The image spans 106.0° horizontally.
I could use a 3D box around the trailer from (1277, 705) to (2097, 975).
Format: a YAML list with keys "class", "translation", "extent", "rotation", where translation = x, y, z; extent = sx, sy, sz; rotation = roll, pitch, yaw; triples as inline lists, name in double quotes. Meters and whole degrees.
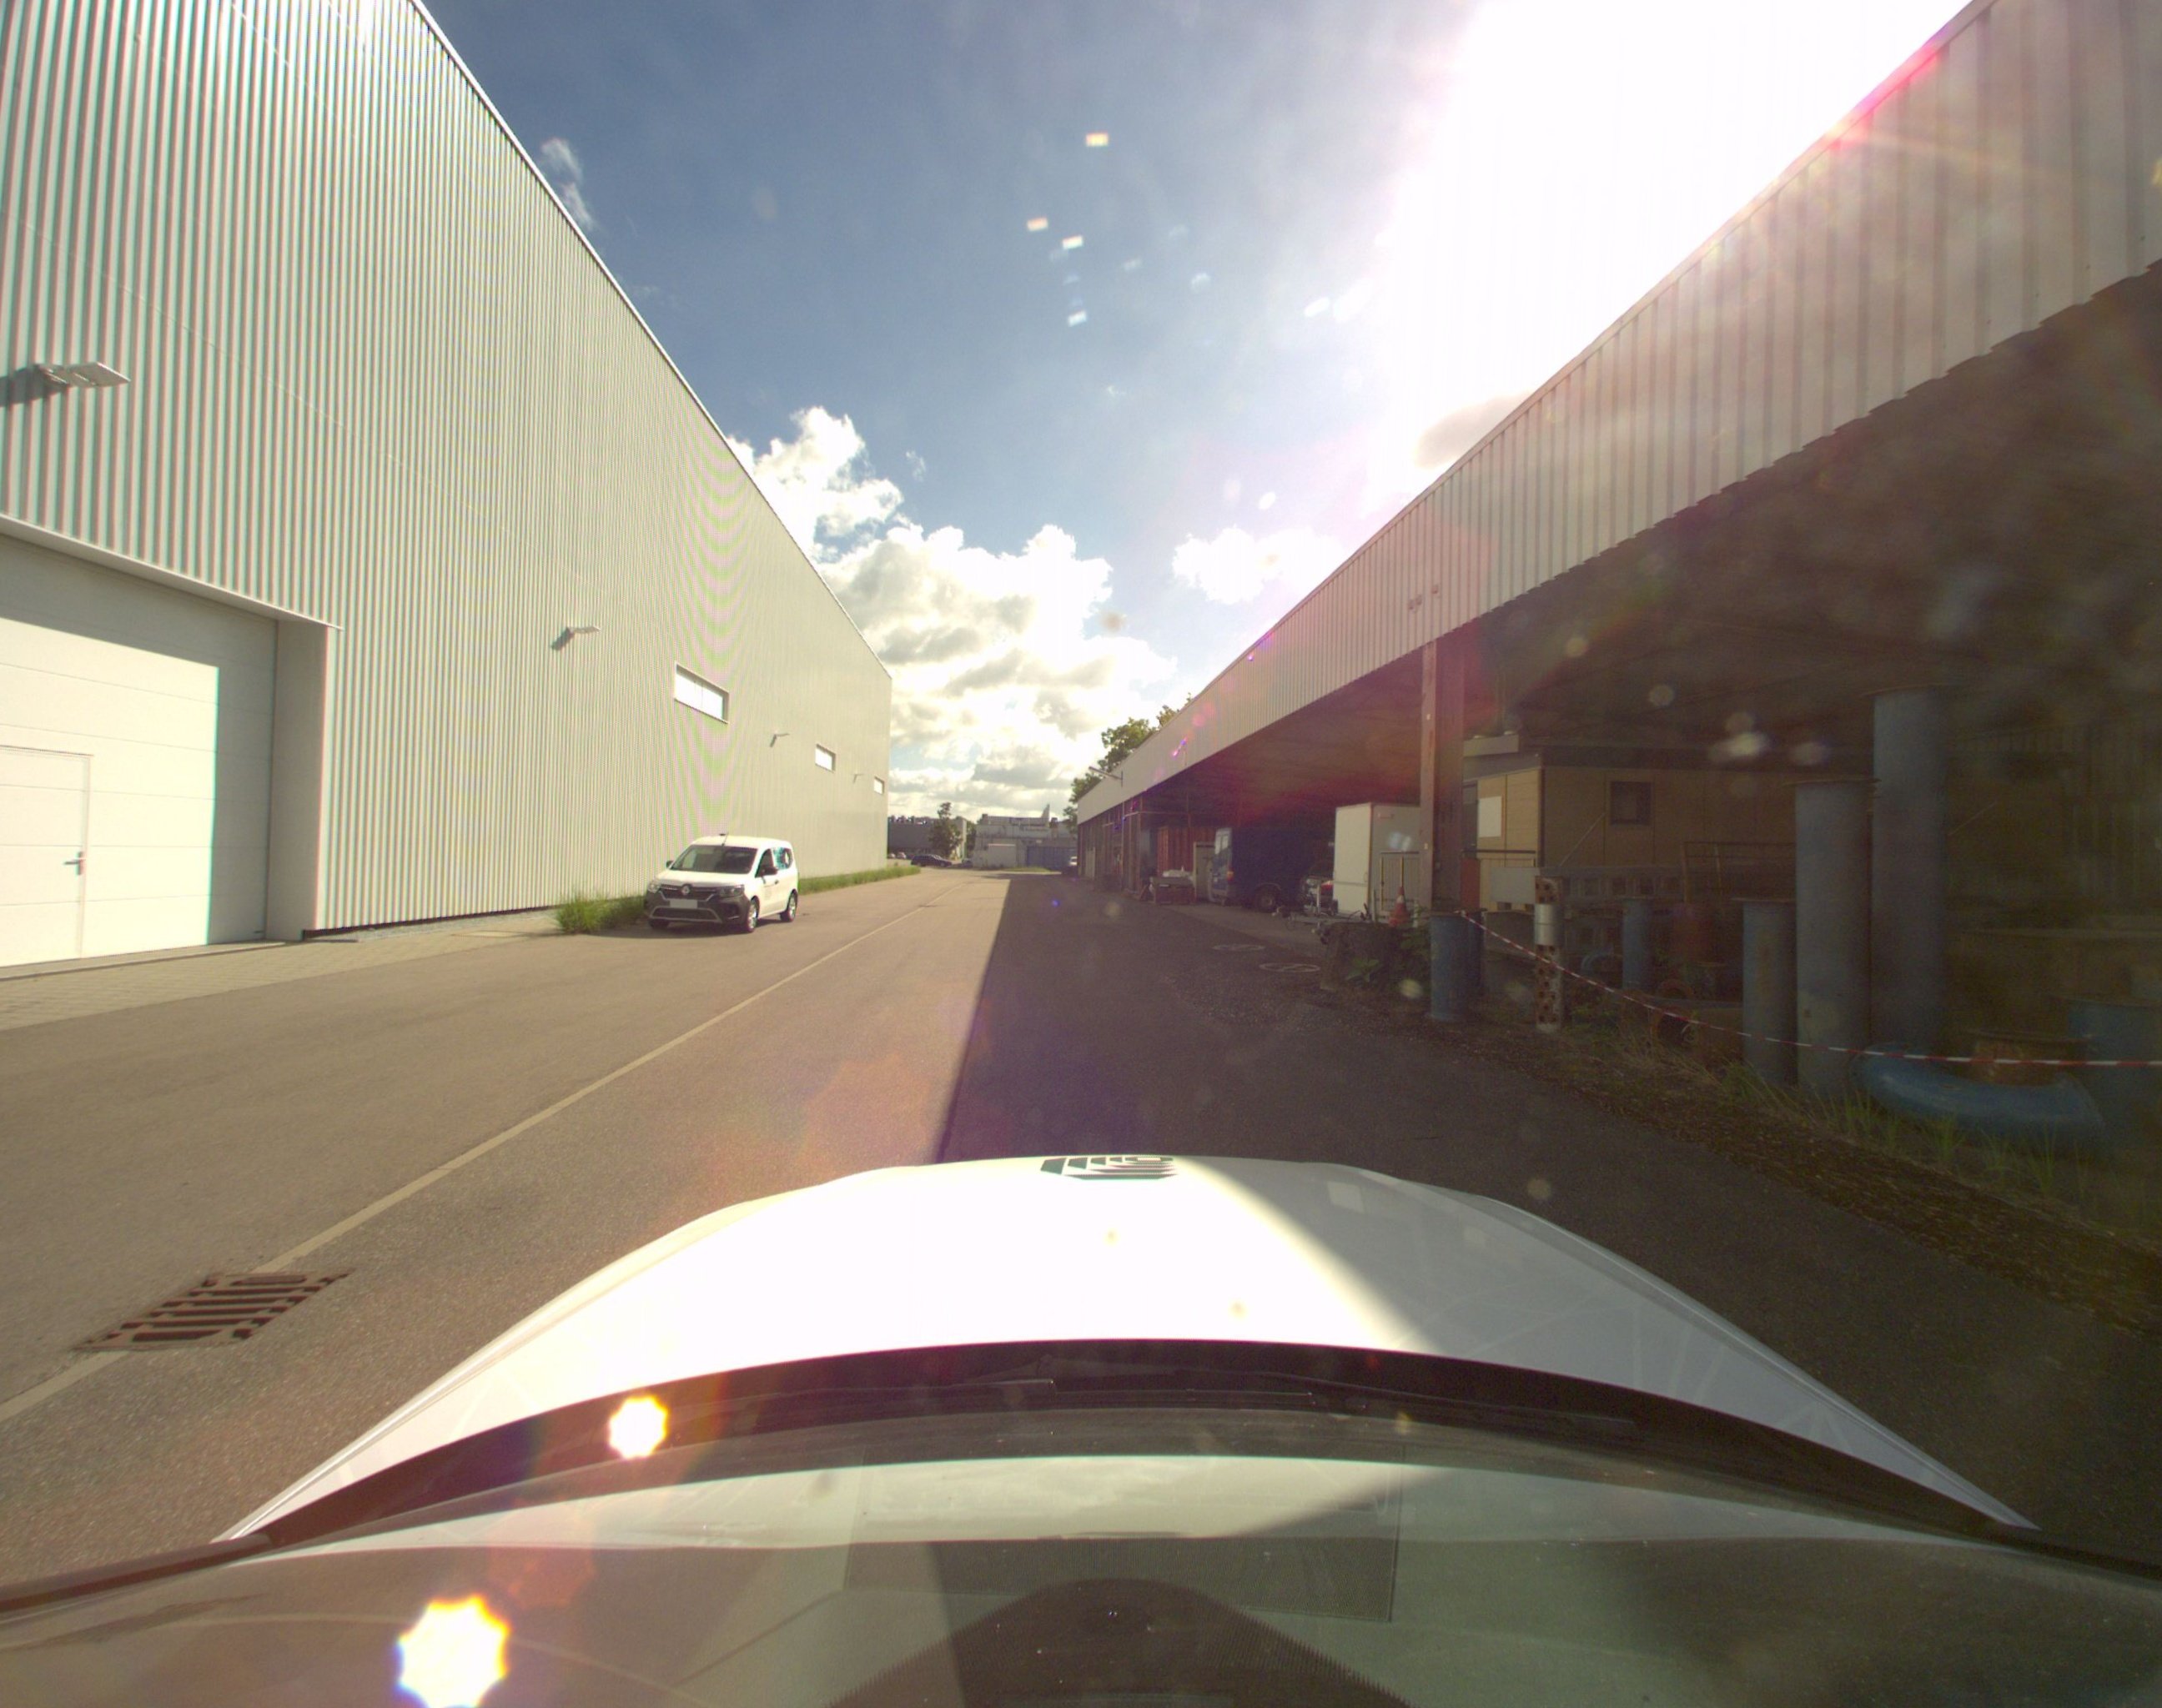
- class: "trailer"
  translation: [8.246, -0.207, 11.698]
  extent: [10.274, 3.295, 2.671]
  rotation: [0, 0, -5]

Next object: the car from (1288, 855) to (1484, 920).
- class: "car"
  translation: [7.326, 0.771, 19.802]
  extent: [4.101, 1.454, 1.847]
  rotation: [0, -1, -6]

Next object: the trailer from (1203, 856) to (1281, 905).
- class: "trailer"
  translation: [4.988, 0.810, 25.393]
  extent: [2.089, 1.462, 1.640]
  rotation: [1, -1, -2]

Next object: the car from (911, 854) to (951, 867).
- class: "car"
  translation: [-18.017, 0.798, 97.755]
  extent: [4.522, 1.443, 1.983]
  rotation: [1, -2, -5]

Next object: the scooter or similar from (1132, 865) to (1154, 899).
- class: "scooter or similar"
  translation: [2.141, 0.968, 28.298]
  extent: [0.519, 1.134, 1.589]
  rotation: [1, -1, -5]

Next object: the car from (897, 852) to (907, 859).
- class: "car"
  translation: [-42.422, 0.437, 192.665]
  extent: [1.876, 1.537, 4.025]
  rotation: [0, -1, -7]

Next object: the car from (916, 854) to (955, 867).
- class: "car"
  translation: [-18.052, 0.813, 101.020]
  extent: [4.522, 1.443, 1.900]
  rotation: [1, -2, -5]

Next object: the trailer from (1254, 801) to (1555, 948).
- class: "trailer"
  translation: [5.419, 0.310, 13.948]
  extent: [4.533, 2.335, 1.686]
  rotation: [0, 0, -5]

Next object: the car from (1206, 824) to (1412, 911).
- class: "car"
  translation: [6.316, 0.387, 22.916]
  extent: [5.209, 2.297, 2.080]
  rotation: [1, -1, -6]

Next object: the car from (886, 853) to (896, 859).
- class: "car"
  translation: [-44.717, 0.450, 192.216]
  extent: [1.876, 1.537, 4.025]
  rotation: [0, -1, -7]

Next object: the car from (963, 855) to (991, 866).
- class: "car"
  translation: [-16.040, 0.945, 125.780]
  extent: [4.272, 1.569, 1.983]
  rotation: [1, -2, -5]

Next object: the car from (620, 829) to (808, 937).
- class: "car"
  translation: [-7.113, 0.513, 16.399]
  extent: [1.925, 1.790, 4.590]
  rotation: [3, 0, -5]

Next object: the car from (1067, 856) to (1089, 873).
- class: "car"
  translation: [-0.388, 1.075, 86.860]
  extent: [1.978, 1.593, 4.333]
  rotation: [2, 1, -5]

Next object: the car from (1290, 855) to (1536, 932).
- class: "car"
  translation: [6.698, 0.761, 16.674]
  extent: [4.342, 1.433, 1.859]
  rotation: [0, -1, -9]
